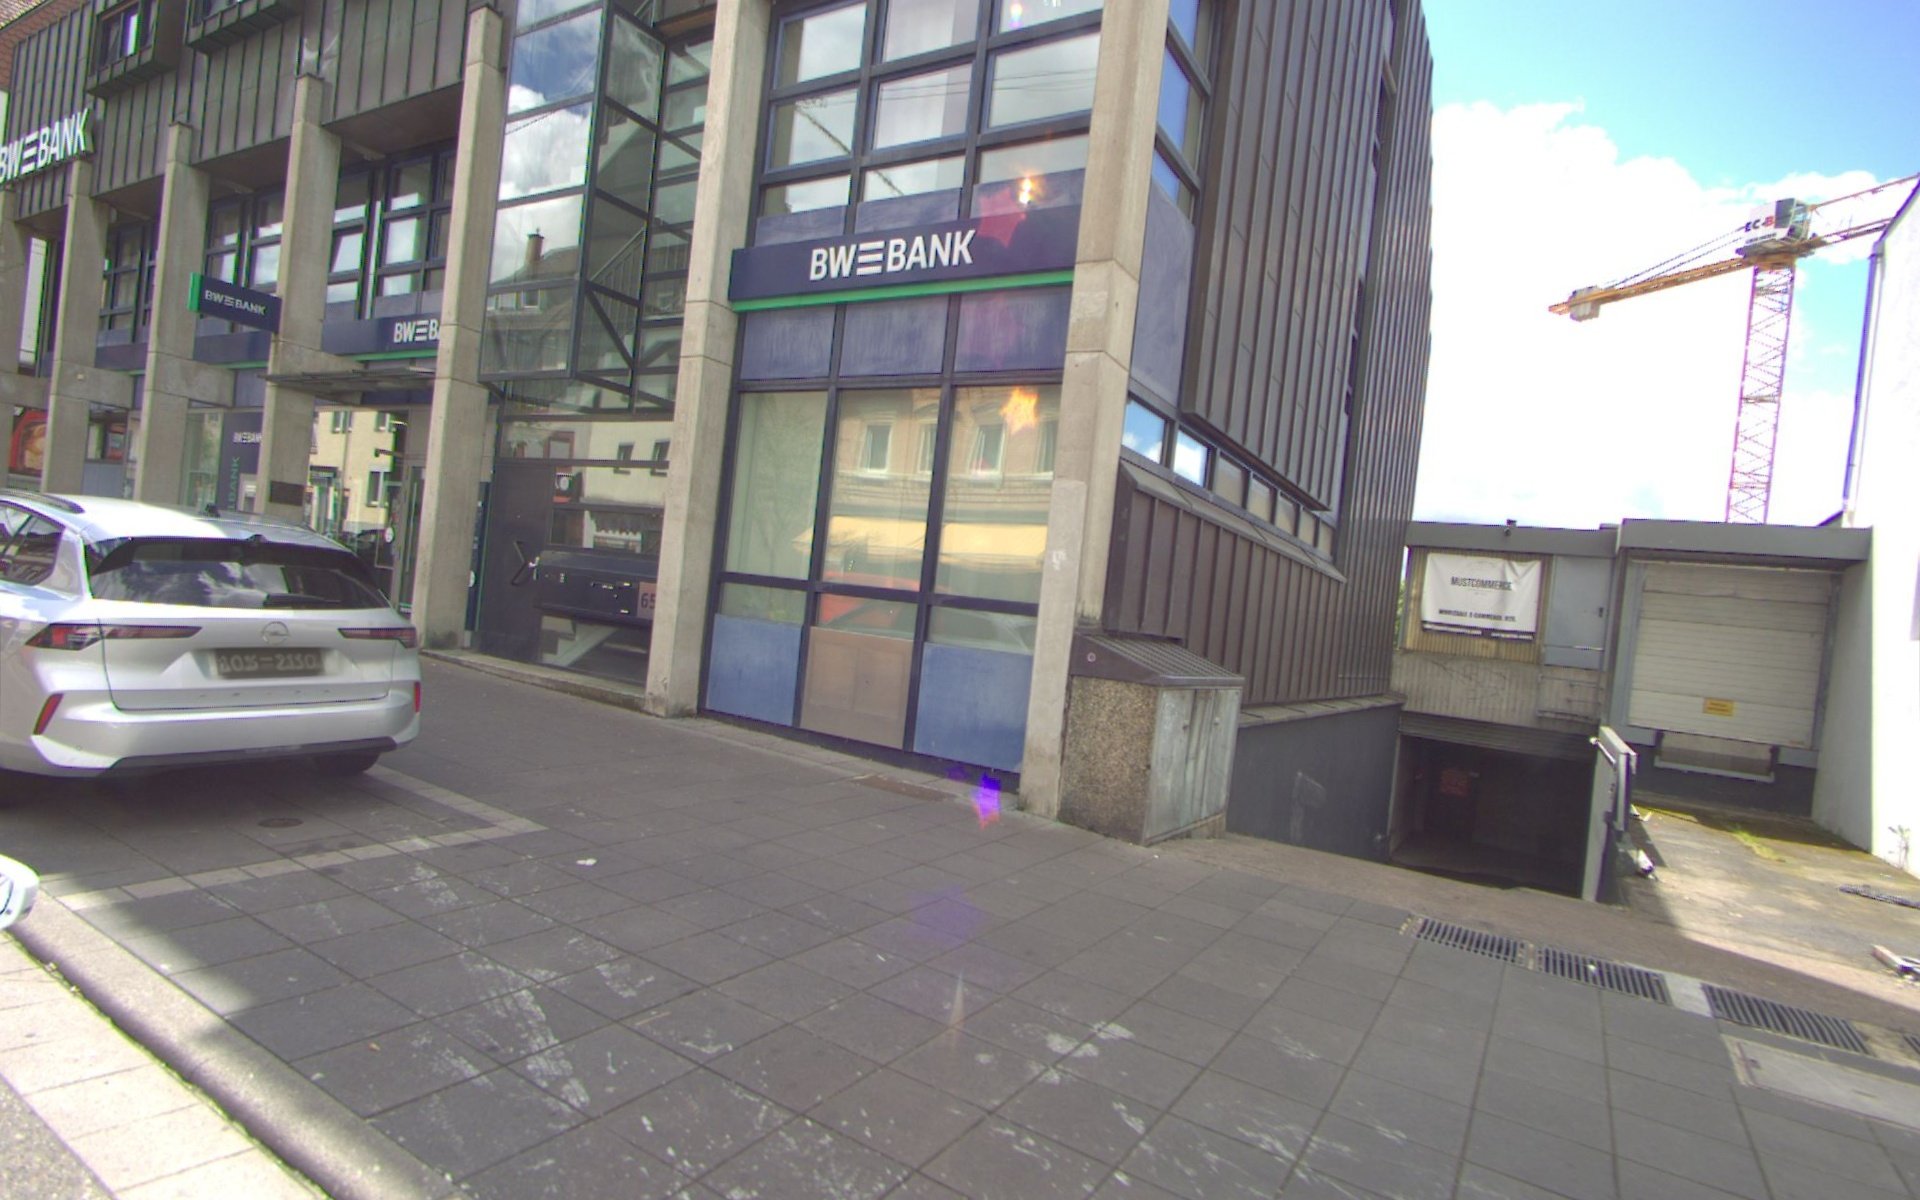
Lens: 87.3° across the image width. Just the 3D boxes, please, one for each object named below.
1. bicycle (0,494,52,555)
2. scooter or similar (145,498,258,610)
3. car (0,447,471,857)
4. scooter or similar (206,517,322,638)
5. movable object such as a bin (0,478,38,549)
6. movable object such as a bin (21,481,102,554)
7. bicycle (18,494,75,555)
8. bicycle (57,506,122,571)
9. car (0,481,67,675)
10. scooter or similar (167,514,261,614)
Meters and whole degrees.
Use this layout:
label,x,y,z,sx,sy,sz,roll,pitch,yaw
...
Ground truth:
label,x,y,z,sx,sy,sz,roll,pitch,yaw
bicycle,-18.825,-1.524,20.242,1.478,1.095,0.425,8,2,34
scooter or similar,-9.571,-0.586,12.690,1.300,1.260,0.407,6,-1,22
car,-4.951,0.008,5.849,4.356,1.597,1.721,8,2,33
scooter or similar,-8.176,-0.280,11.806,1.535,1.260,0.422,6,-1,32
movable object such as a bin,-22.511,-2.065,23.465,1.015,1.545,1.143,6,-1,34
movable object such as a bin,-21.892,-2.005,24.514,1.015,1.545,1.143,6,-1,34
bicycle,-18.847,-1.559,20.748,1.478,1.132,0.426,6,-1,34
bicycle,-16.911,-1.203,19.536,1.713,1.132,0.426,6,-1,34
car,-9.535,-0.399,8.614,4.043,1.511,1.724,6,-2,33
scooter or similar,-10.553,-0.524,14.216,1.535,1.260,0.422,6,-1,32
